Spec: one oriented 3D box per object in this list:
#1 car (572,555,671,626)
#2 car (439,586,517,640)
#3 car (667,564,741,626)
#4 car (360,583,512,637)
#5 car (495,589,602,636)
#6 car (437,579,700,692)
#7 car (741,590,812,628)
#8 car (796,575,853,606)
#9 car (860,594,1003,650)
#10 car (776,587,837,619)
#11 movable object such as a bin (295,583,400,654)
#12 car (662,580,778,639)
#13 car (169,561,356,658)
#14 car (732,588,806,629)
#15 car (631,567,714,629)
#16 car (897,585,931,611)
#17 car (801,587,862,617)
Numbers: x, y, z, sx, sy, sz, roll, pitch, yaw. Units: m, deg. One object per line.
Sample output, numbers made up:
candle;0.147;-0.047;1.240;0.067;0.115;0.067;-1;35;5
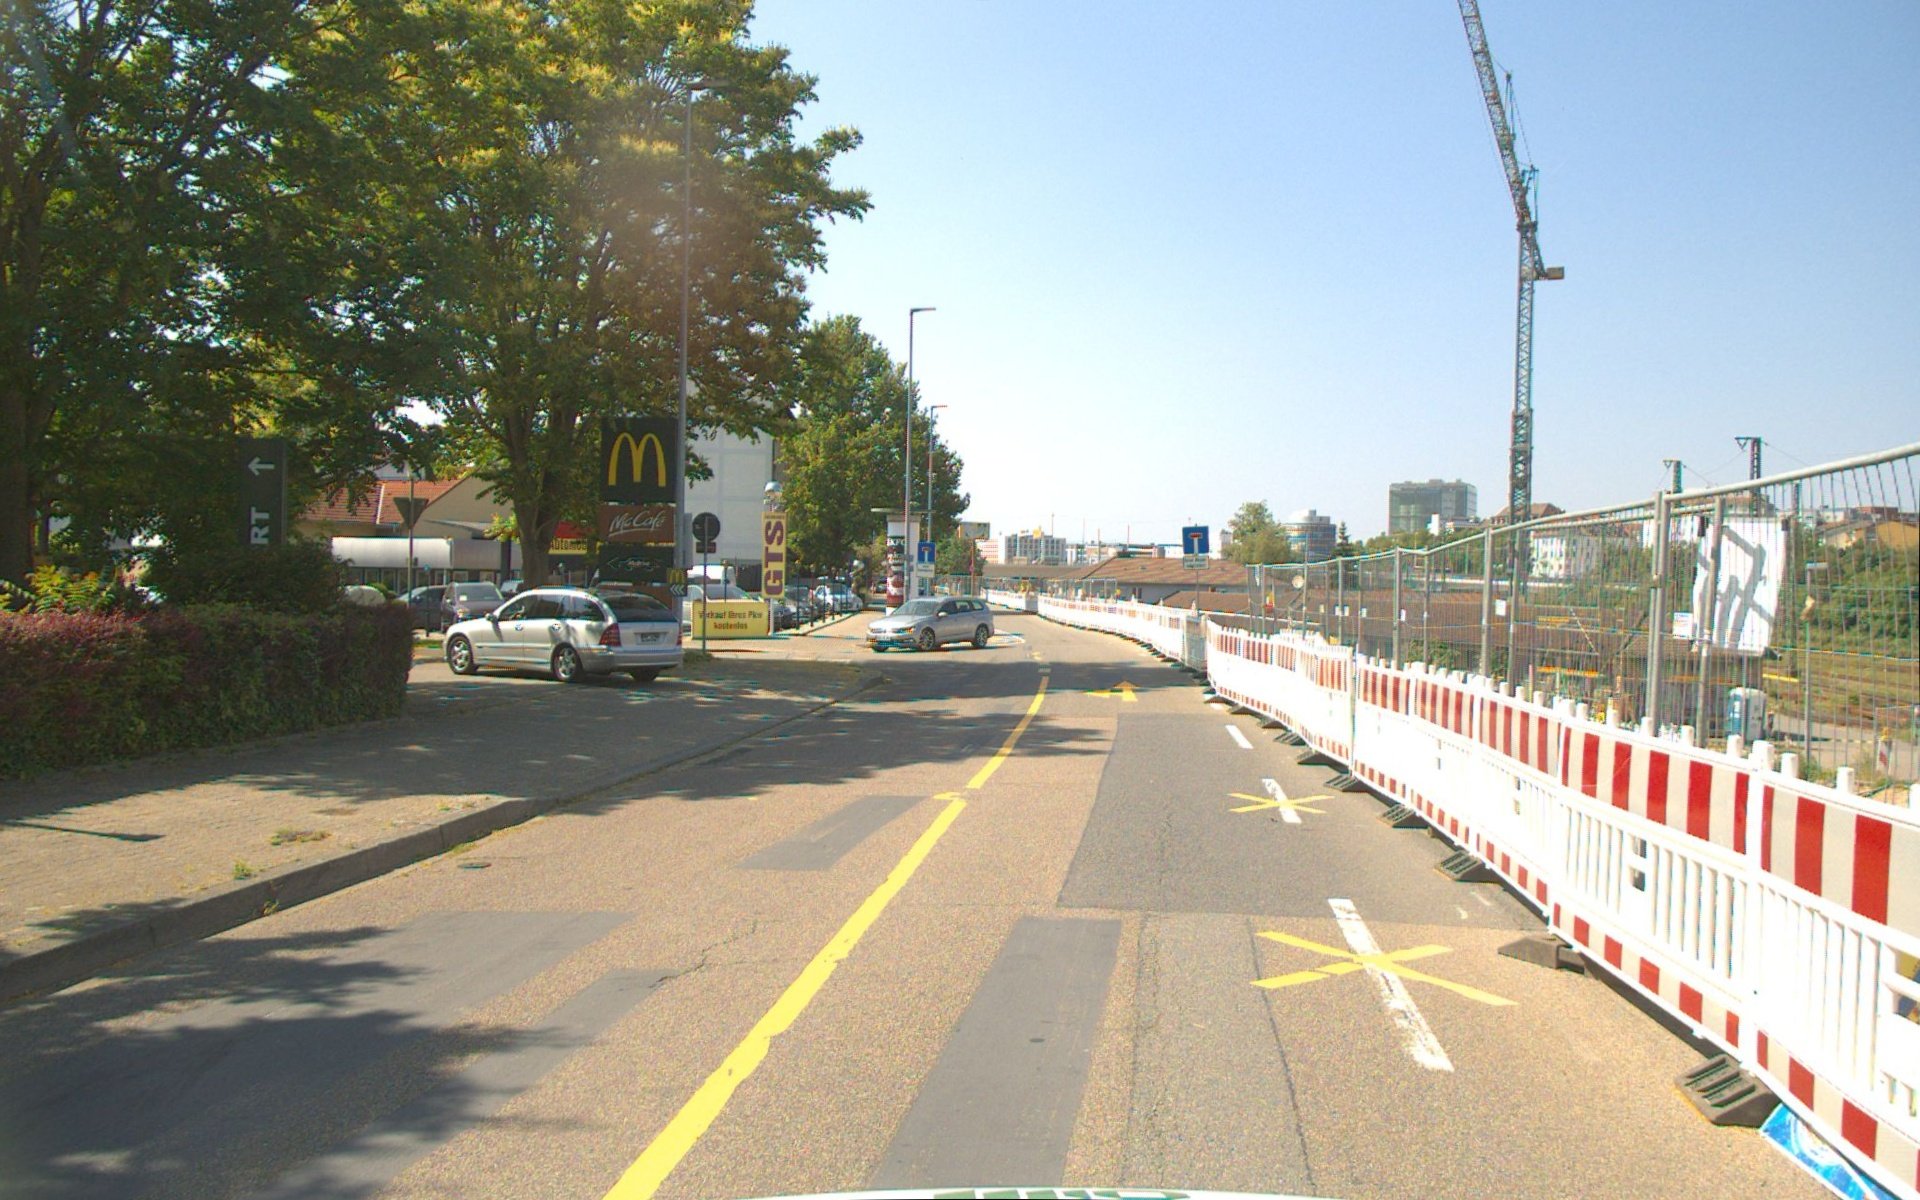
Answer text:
car;-13.979;-0.353;68.704;2.228;2.806;6.157;0;0;6
car;-15.801;0.389;54.059;1.782;1.685;4.280;-1;1;-25
car;-11.137;-0.180;72.432;2.200;2.472;5.718;4;-1;0
car;-18.861;0.337;59.632;4.843;1.874;2.133;0;0;-39
car;-14.888;0.424;60.109;1.868;1.602;4.691;0;1;12
car;-6.203;0.492;25.969;4.304;1.428;1.706;4;3;39
car;-7.884;0.368;70.772;1.758;1.498;3.966;-3;1;-26
car;-9.447;-0.641;115.045;3.849;1.993;1.756;2;0;-8
car;-0.748;0.586;46.867;1.649;1.519;4.589;0;0;36
car;-7.824;0.159;84.056;1.648;1.498;3.962;-2;1;-28
movable object such as a bin;-14.334;0.433;38.730;1.734;1.553;1.455;-1;2;25
car;-7.986;0.352;54.730;1.959;1.736;4.606;-1;-2;-35
car;-15.689;0.242;37.111;4.437;1.953;1.885;-3;1;38
car;-7.572;0.332;65.241;1.812;1.498;3.971;-2;1;-23
car;-11.408;-0.050;65.997;2.199;2.391;4.825;0;-1;4
car;-2.870;-0.112;103.551;1.830;1.524;4.033;0;1;2
car;-6.825;0.101;87.495;1.756;1.498;3.962;-2;1;-28
